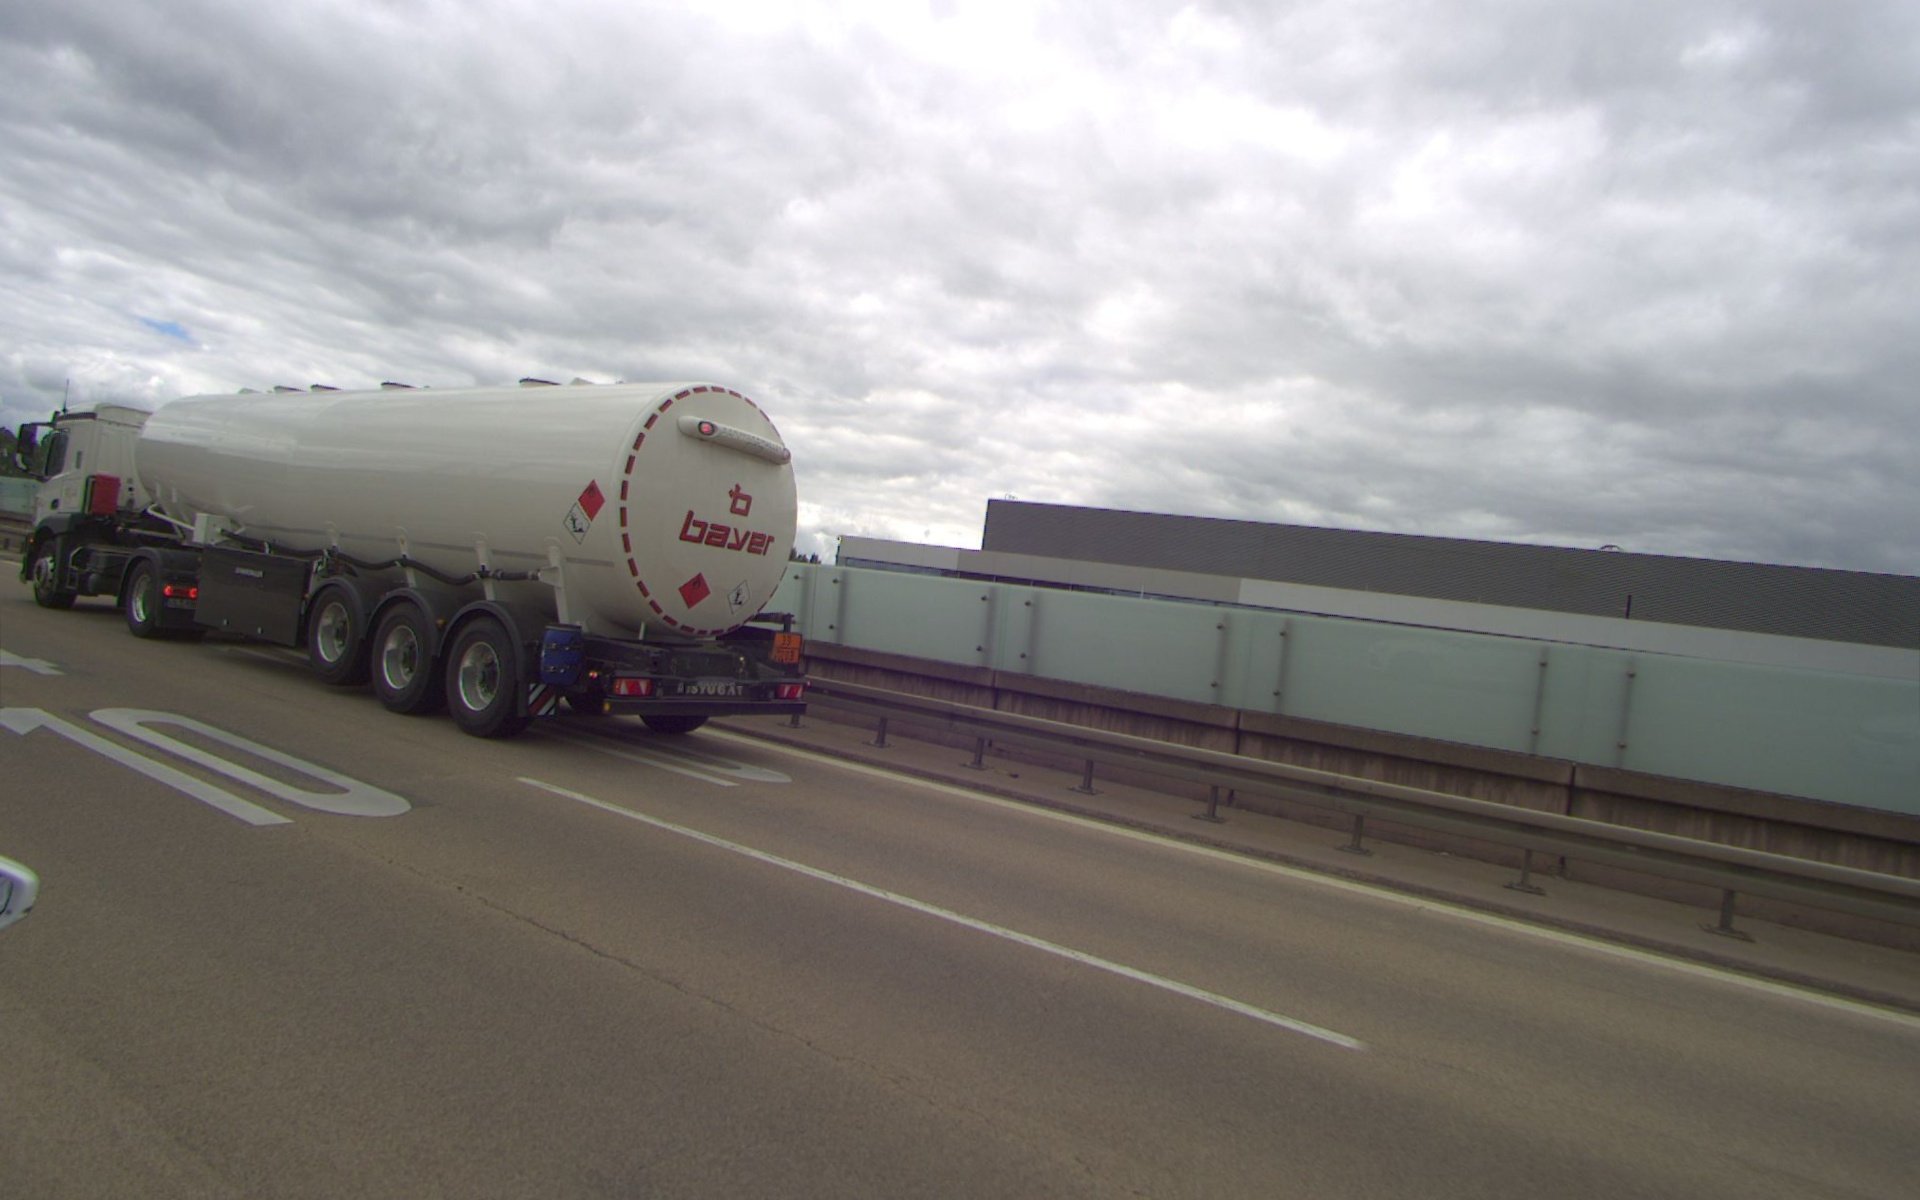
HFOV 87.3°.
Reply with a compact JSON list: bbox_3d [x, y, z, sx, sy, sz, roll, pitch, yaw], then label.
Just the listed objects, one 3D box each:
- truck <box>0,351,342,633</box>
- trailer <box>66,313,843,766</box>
[{"bbox_3d":[-12.466,-1.623,15.687,4.823,3.555,2.635,7,-1,32],"label":"truck"},{"bbox_3d":[-6.719,-0.860,11.982,11.036,3.584,2.655,6,-2,32],"label":"trailer"}]
